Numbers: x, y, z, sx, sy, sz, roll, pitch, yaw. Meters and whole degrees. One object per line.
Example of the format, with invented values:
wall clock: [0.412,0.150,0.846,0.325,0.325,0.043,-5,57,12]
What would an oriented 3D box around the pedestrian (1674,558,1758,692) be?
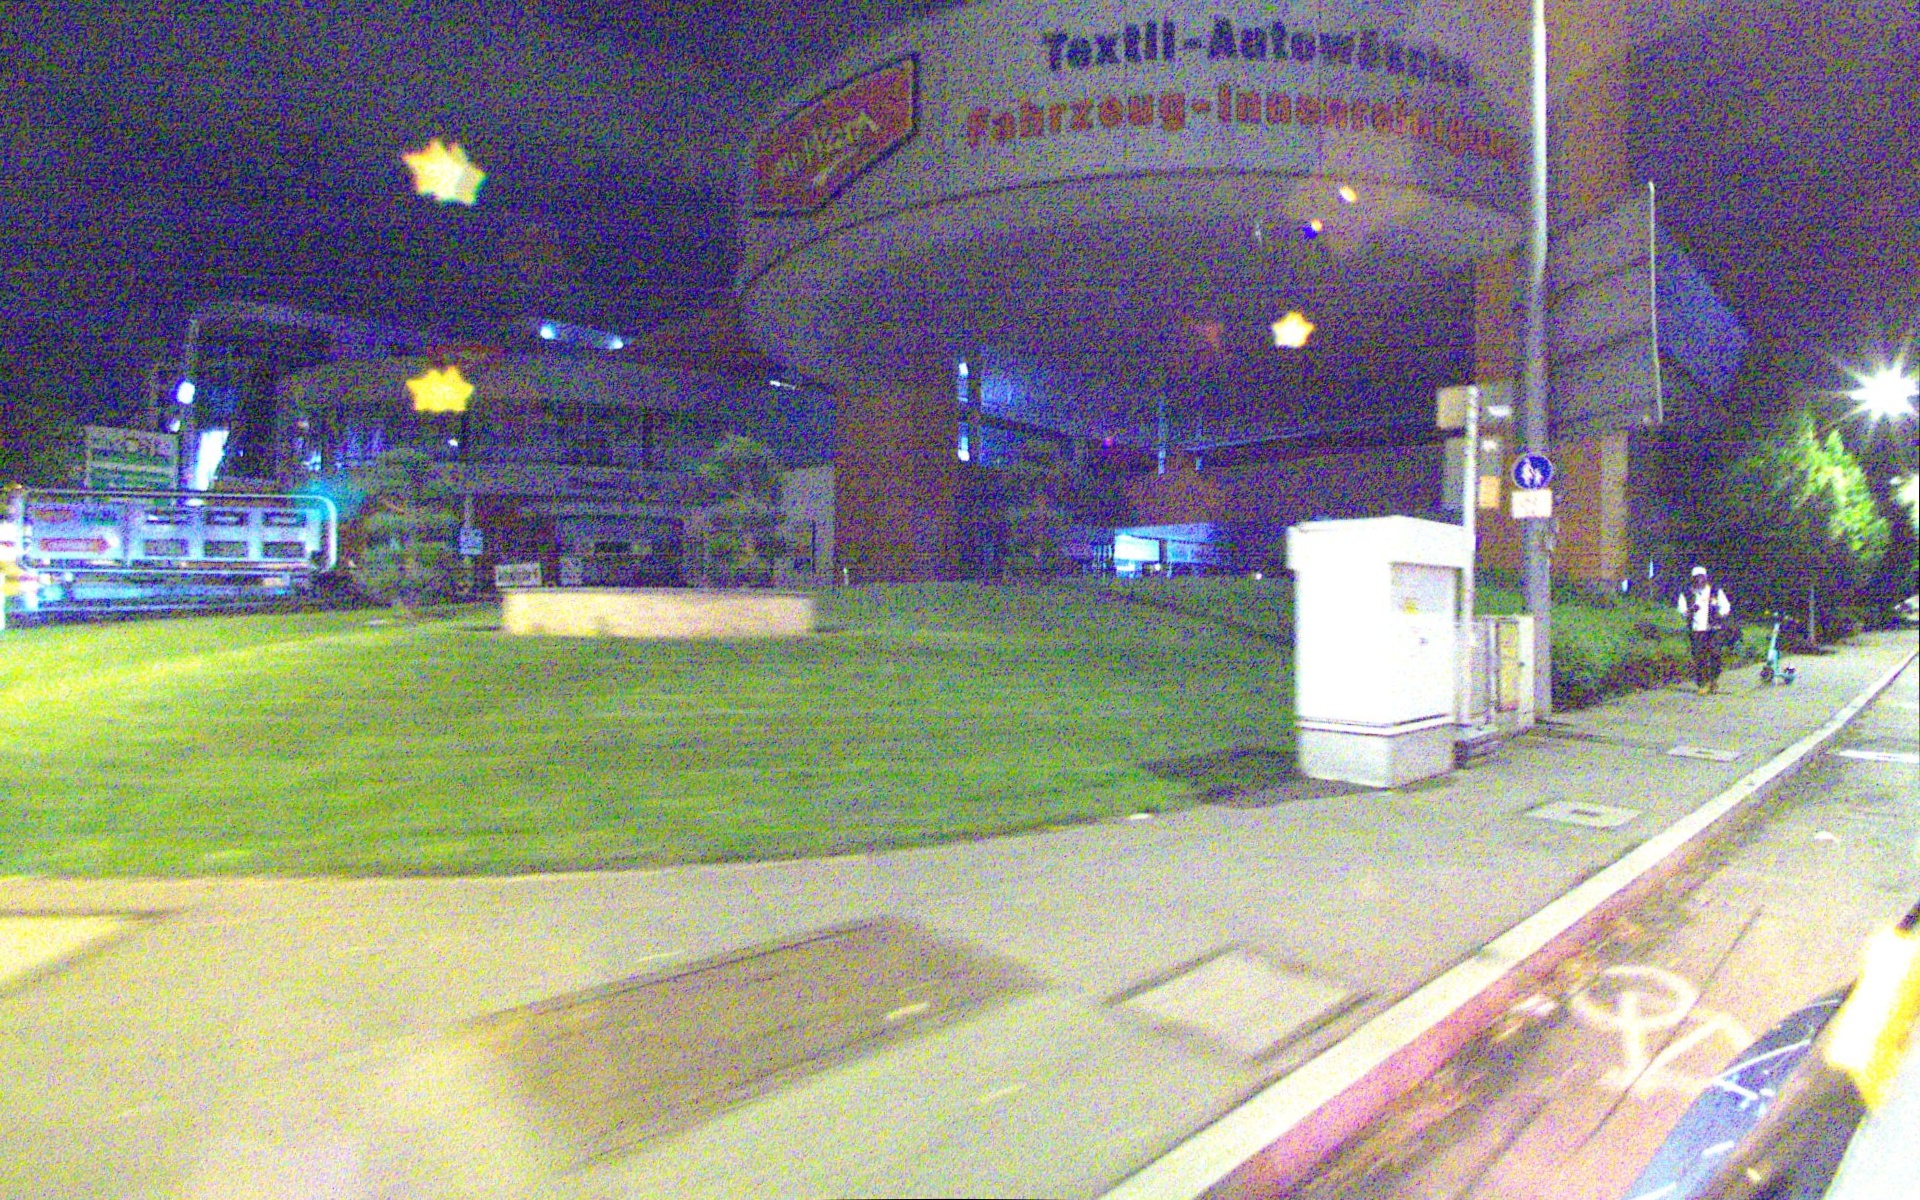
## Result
pedestrian: [11.182,0.345,14.964,1.016,1.888,0.818,0,0,-42]

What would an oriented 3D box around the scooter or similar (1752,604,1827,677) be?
scooter or similar: [14.281,0.700,17.428,1.111,1.217,0.470,2,-1,-18]
